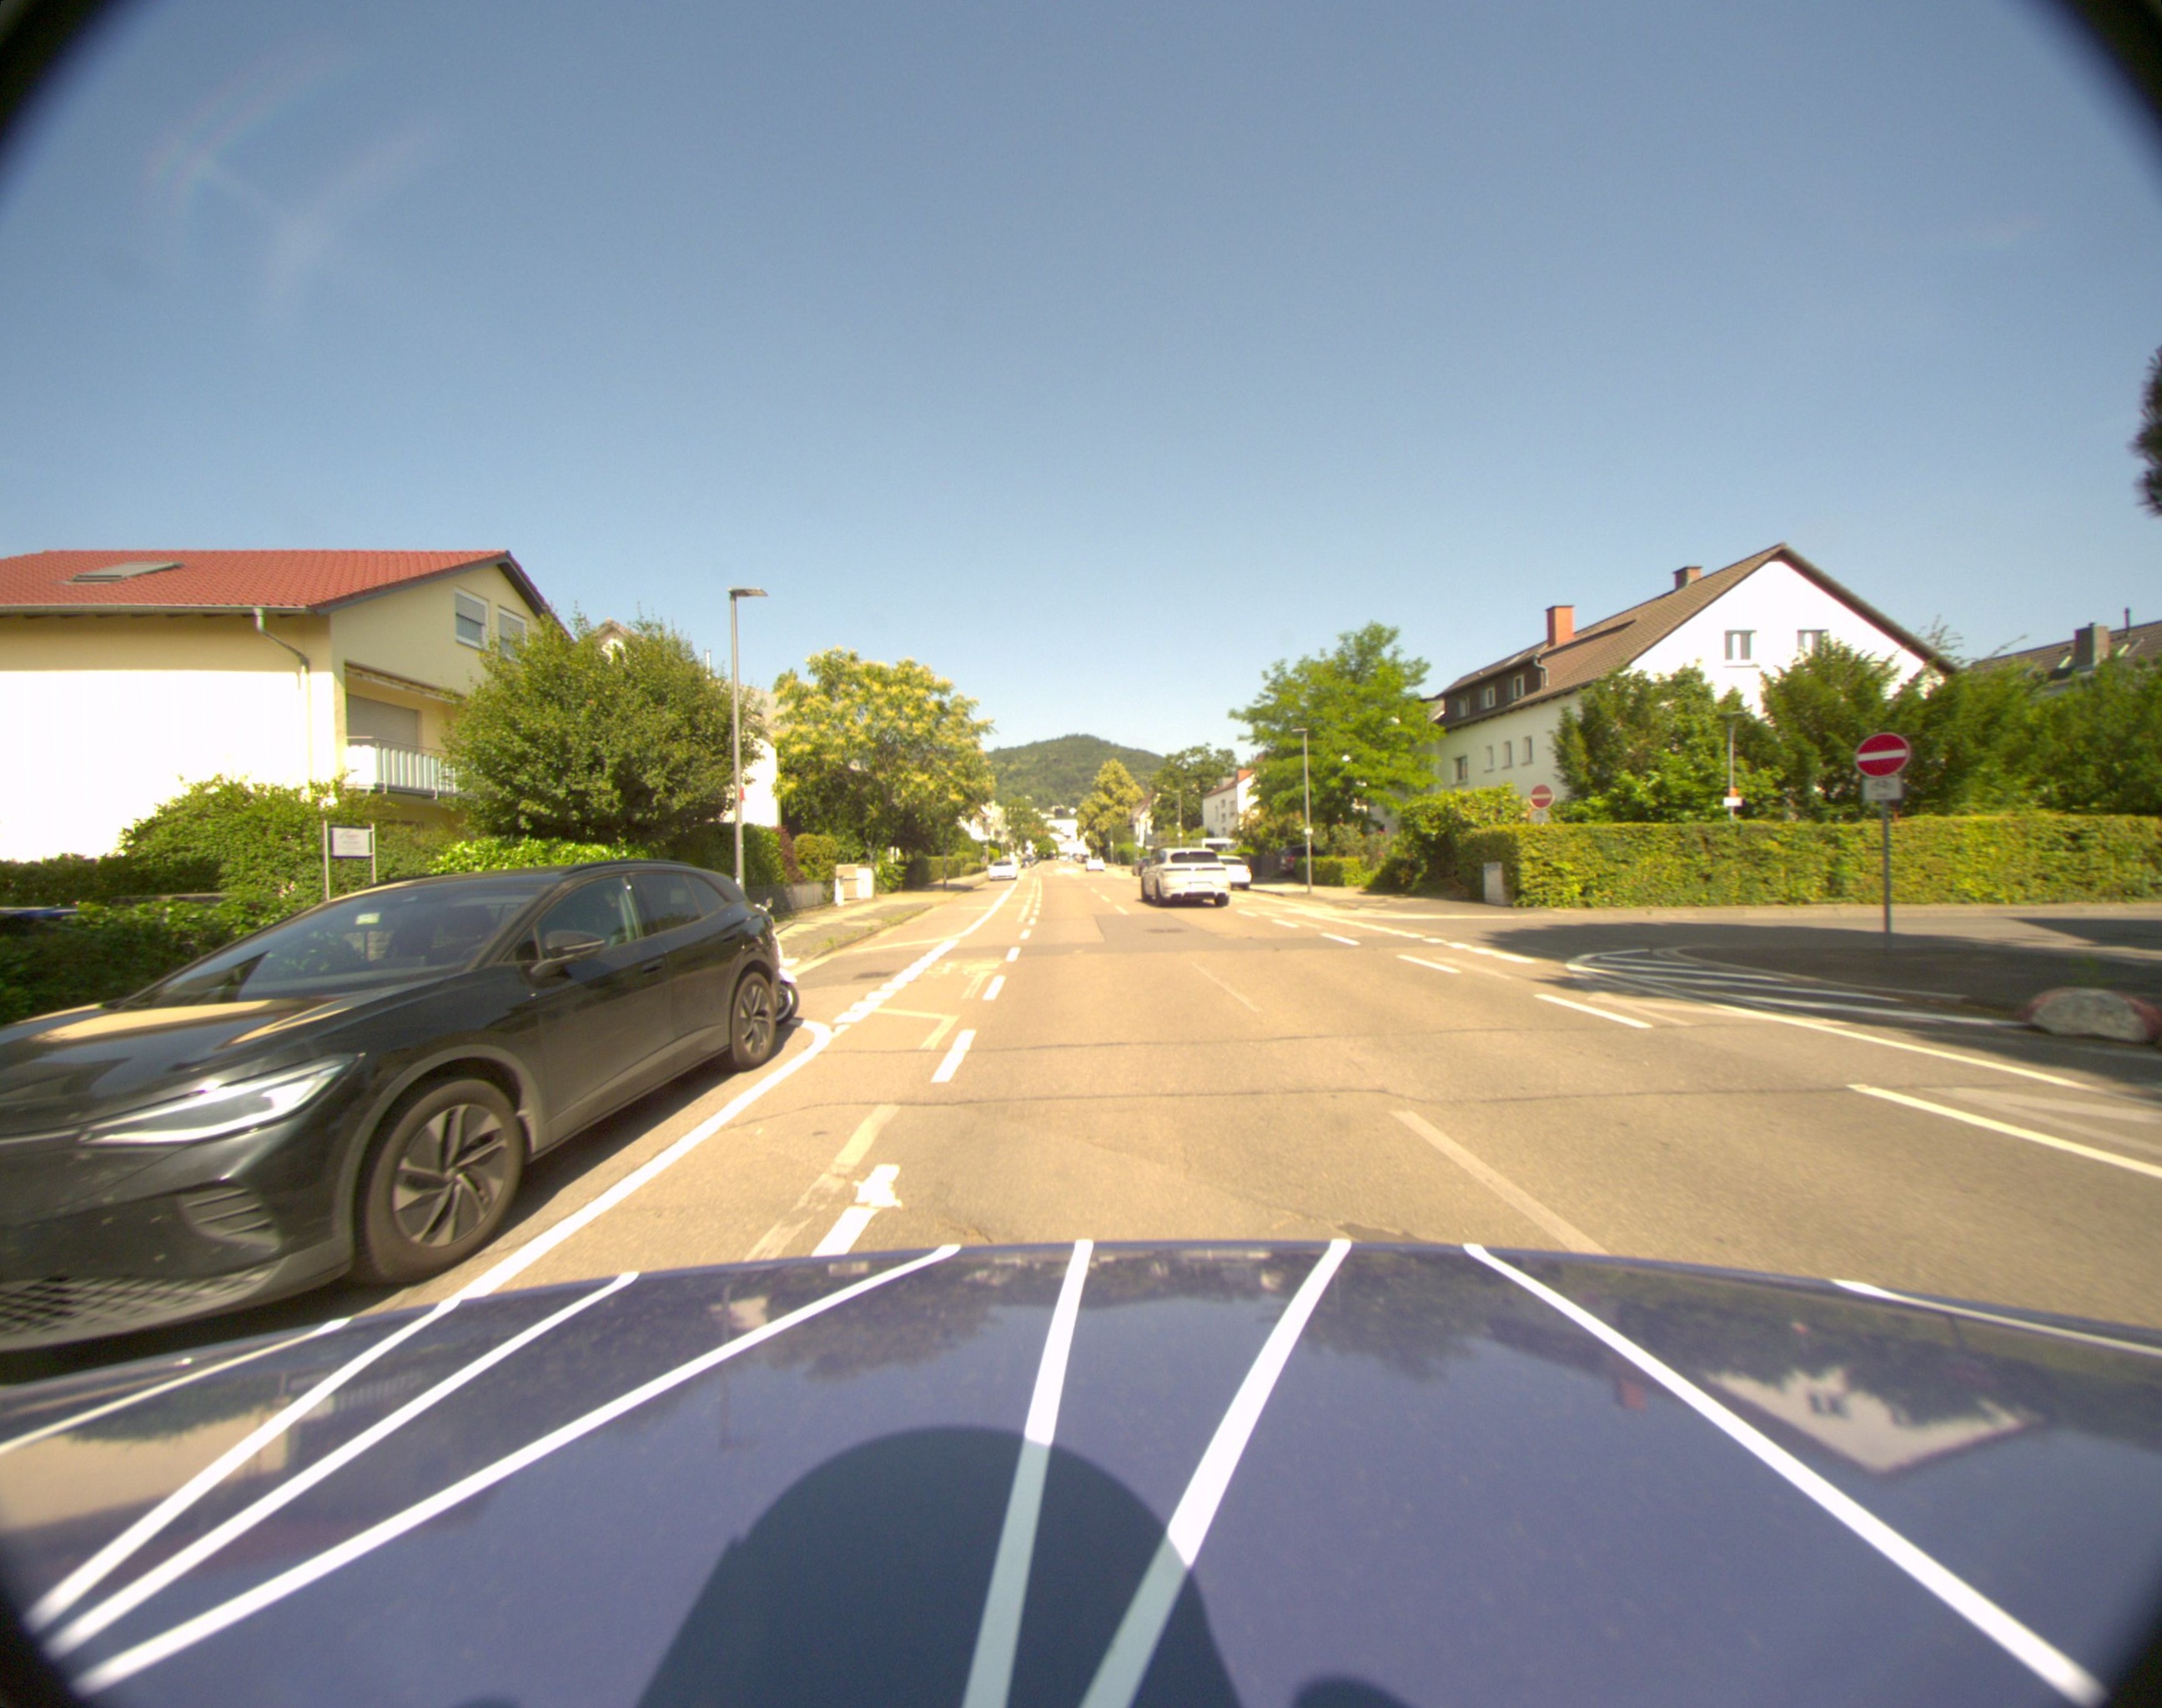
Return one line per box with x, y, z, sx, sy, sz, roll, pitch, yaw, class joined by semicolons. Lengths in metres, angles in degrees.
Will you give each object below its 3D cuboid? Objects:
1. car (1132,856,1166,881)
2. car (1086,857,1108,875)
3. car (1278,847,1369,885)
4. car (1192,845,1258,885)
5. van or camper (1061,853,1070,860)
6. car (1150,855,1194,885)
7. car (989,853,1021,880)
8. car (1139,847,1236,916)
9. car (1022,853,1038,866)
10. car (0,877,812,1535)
4.920;1.022;55.384;1.999;1.674;3.999;-2;0;-1;car
1.639;1.191;77.240;1.866;1.741;3.999;-1;0;-4;car
11.904;0.590;37.486;3.994;1.805;2.001;-1;0;8;car
6.096;0.425;32.692;1.959;1.543;3.999;-2;0;-1;car
-3.871;0.616;186.061;1.998;1.705;4.000;-1;0;2;van or camper
5.331;0.896;45.029;1.999;1.608;3.999;-2;0;-1;car
-5.212;0.815;52.069;1.999;1.696;3.997;-2;1;-6;car
3.017;0.741;22.604;2.005;1.803;4.764;-1;0;-2;car
-7.175;0.704;107.028;1.999;1.696;3.997;-2;1;-6;car
-3.339;1.030;4.266;1.816;1.550;4.600;-4;0;1;car
